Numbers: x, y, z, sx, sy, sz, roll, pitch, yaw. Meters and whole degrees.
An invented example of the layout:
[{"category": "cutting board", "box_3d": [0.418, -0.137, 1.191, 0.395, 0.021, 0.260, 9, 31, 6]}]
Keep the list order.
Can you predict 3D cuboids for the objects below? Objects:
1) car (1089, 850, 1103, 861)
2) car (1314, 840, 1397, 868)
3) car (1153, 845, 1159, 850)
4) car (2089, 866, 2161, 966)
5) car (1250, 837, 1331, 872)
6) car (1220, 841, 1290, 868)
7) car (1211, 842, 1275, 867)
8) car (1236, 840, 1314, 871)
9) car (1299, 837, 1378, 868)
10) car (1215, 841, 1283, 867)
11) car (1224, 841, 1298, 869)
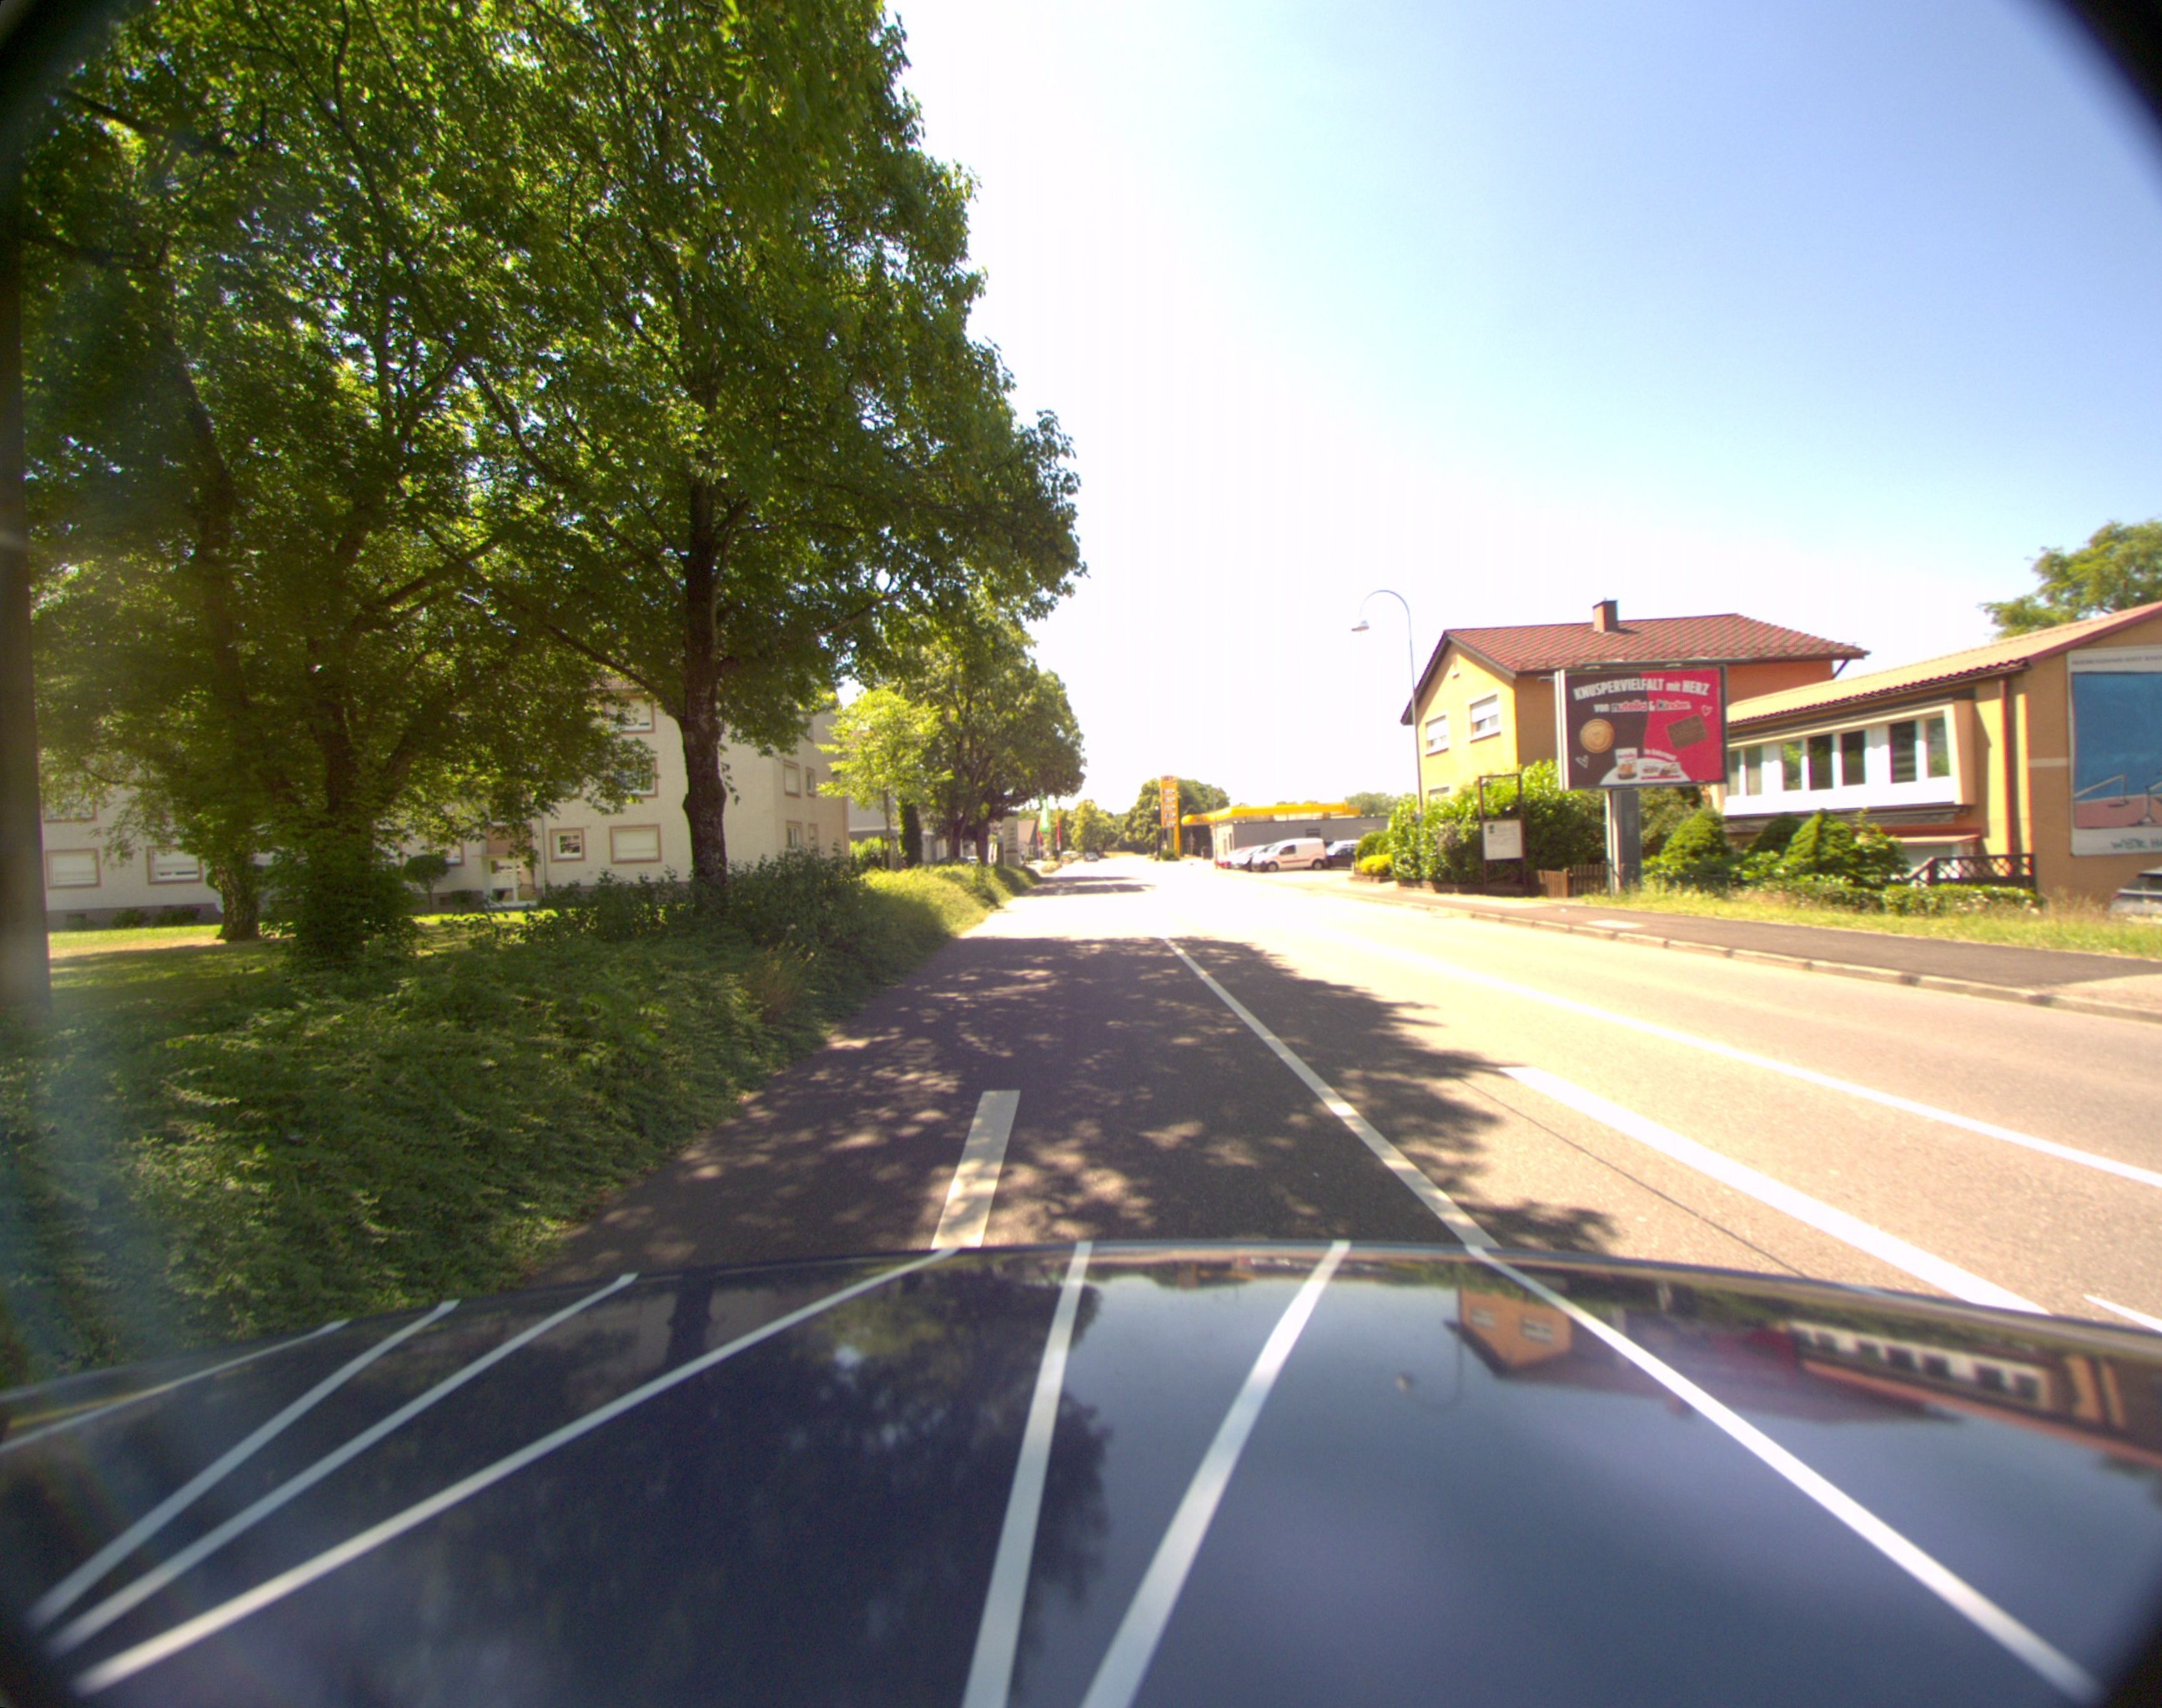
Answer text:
[{"category": "car", "box_3d": [2.212, 0.191, 112.948, 1.771, 1.521, 4.129, -2, 1, -2]}, {"category": "car", "box_3d": [16.752, -0.015, 46.439, 4.402, 1.554, 1.874, -2, 1, -5]}, {"category": "car", "box_3d": [25.490, -2.263, 258.592, 1.808, 1.552, 4.065, -2, 1, 10]}, {"category": "car", "box_3d": [19.952, 0.991, 12.404, 4.224, 1.599, 1.772, -1, 1, 7]}, {"category": "car", "box_3d": [12.209, 0.018, 44.418, 4.191, 1.858, 1.874, -2, 1, -5]}, {"category": "car", "box_3d": [12.206, 0.027, 53.350, 4.402, 1.750, 1.874, -2, 1, -5]}, {"category": "car", "box_3d": [12.325, 0.007, 57.978, 4.402, 1.750, 1.874, -2, 1, -5]}, {"category": "car", "box_3d": [11.834, 0.055, 46.556, 4.246, 1.750, 1.874, -2, 1, -5]}, {"category": "car", "box_3d": [16.483, -0.109, 48.694, 4.402, 1.815, 1.874, -2, 1, -5]}, {"category": "car", "box_3d": [12.242, -0.005, 55.527, 4.402, 1.750, 1.874, -2, 1, -5]}, {"category": "car", "box_3d": [12.055, 0.067, 51.063, 4.402, 1.750, 1.874, -2, 1, -5]}]
